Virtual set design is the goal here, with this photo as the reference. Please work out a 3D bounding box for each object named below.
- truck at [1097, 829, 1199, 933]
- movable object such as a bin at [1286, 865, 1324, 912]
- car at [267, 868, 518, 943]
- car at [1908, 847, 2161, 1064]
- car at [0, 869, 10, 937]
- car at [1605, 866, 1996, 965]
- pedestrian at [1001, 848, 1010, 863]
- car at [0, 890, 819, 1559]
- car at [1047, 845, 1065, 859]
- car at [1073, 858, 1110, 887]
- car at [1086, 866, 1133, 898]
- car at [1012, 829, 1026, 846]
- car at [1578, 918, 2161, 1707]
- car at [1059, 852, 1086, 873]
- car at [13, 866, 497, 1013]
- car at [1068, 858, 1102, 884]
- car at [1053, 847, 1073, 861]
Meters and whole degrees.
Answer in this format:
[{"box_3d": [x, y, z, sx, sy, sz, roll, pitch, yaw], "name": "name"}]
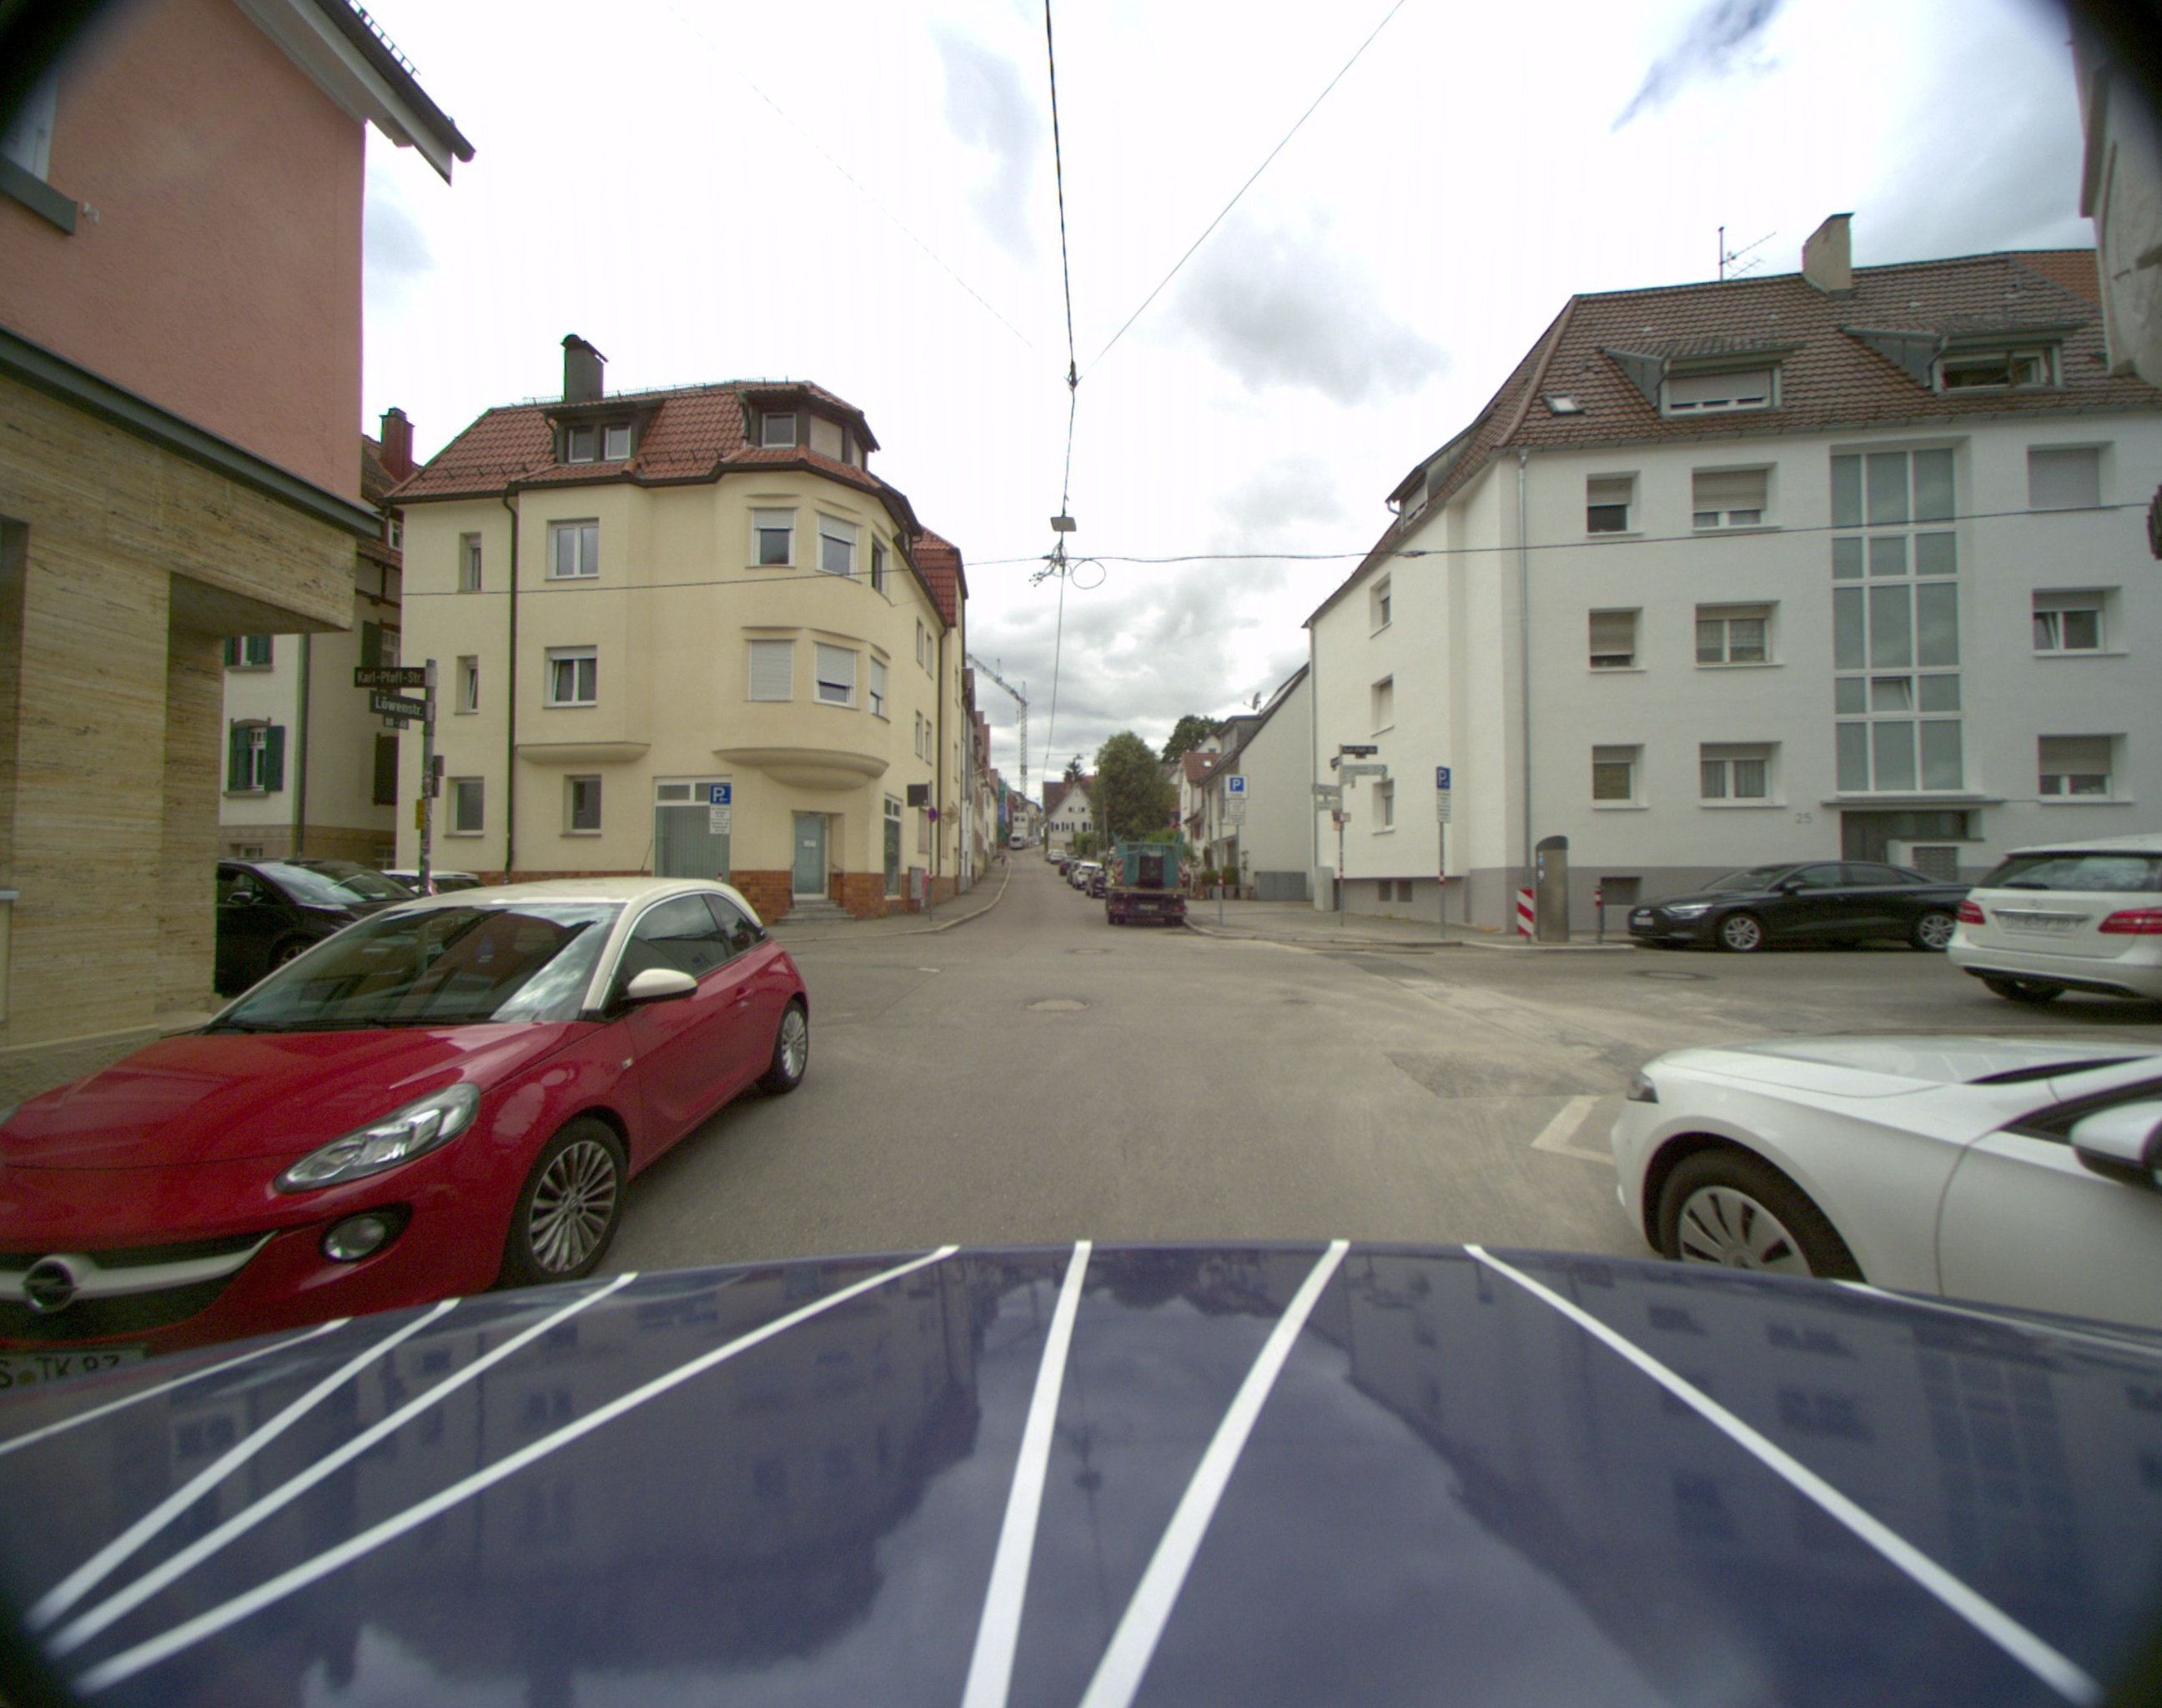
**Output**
[{"box_3d": [1.734, 0.763, 21.953, 2.316, 2.536, 6.289, 1, -2, 0], "name": "truck"}, {"box_3d": [7.729, 1.173, 26.207, 1.010, 1.608, 1.002, 0, 0, 0], "name": "movable object such as a bin"}, {"box_3d": [-13.994, 1.032, 15.548, 3.811, 1.425, 1.674, 0, -2, 7], "name": "car"}, {"box_3d": [9.939, 0.711, 6.276, 4.023, 1.589, 1.827, -1, -1, 4], "name": "car"}, {"box_3d": [-25.256, 0.958, 15.670, 4.363, 1.446, 1.760, 1, -4, 8], "name": "car"}, {"box_3d": [11.222, 0.956, 12.149, 4.293, 1.383, 1.827, -1, -2, 5], "name": "car"}, {"box_3d": [-7.493, 0.122, 75.108, 0.757, 1.480, 0.566, 0, 0, -18], "name": "pedestrian"}, {"box_3d": [-2.710, 1.009, 3.685, 1.672, 1.471, 3.625, 0, 0, -1], "name": "car"}, {"box_3d": [-2.937, -0.266, 88.250, 1.856, 1.441, 3.942, 1, 2, -6], "name": "car"}, {"box_3d": [0.596, 1.101, 45.515, 1.855, 1.640, 3.945, 1, -1, -4], "name": "car"}, {"box_3d": [1.332, 1.327, 36.963, 1.855, 1.454, 3.945, 1, -1, -4], "name": "car"}, {"box_3d": [-10.320, -2.762, 126.412, 2.194, 2.630, 5.822, 1, 1, -5], "name": "car"}, {"box_3d": [2.667, 0.945, 0.626, 1.703, 1.406, 4.240, 0, 0, -1], "name": "car"}, {"box_3d": [-0.722, 0.666, 63.231, 1.856, 1.641, 3.943, 1, 0, -6], "name": "car"}, {"box_3d": [-9.720, 0.931, 9.176, 4.023, 1.534, 1.824, 0, 0, 4], "name": "car"}, {"box_3d": [0.234, 1.107, 51.611, 1.856, 1.641, 3.943, 1, 0, -6], "name": "car"}, {"box_3d": [-2.010, 0.026, 82.251, 1.856, 1.441, 3.943, 1, 0, -6], "name": "car"}]
